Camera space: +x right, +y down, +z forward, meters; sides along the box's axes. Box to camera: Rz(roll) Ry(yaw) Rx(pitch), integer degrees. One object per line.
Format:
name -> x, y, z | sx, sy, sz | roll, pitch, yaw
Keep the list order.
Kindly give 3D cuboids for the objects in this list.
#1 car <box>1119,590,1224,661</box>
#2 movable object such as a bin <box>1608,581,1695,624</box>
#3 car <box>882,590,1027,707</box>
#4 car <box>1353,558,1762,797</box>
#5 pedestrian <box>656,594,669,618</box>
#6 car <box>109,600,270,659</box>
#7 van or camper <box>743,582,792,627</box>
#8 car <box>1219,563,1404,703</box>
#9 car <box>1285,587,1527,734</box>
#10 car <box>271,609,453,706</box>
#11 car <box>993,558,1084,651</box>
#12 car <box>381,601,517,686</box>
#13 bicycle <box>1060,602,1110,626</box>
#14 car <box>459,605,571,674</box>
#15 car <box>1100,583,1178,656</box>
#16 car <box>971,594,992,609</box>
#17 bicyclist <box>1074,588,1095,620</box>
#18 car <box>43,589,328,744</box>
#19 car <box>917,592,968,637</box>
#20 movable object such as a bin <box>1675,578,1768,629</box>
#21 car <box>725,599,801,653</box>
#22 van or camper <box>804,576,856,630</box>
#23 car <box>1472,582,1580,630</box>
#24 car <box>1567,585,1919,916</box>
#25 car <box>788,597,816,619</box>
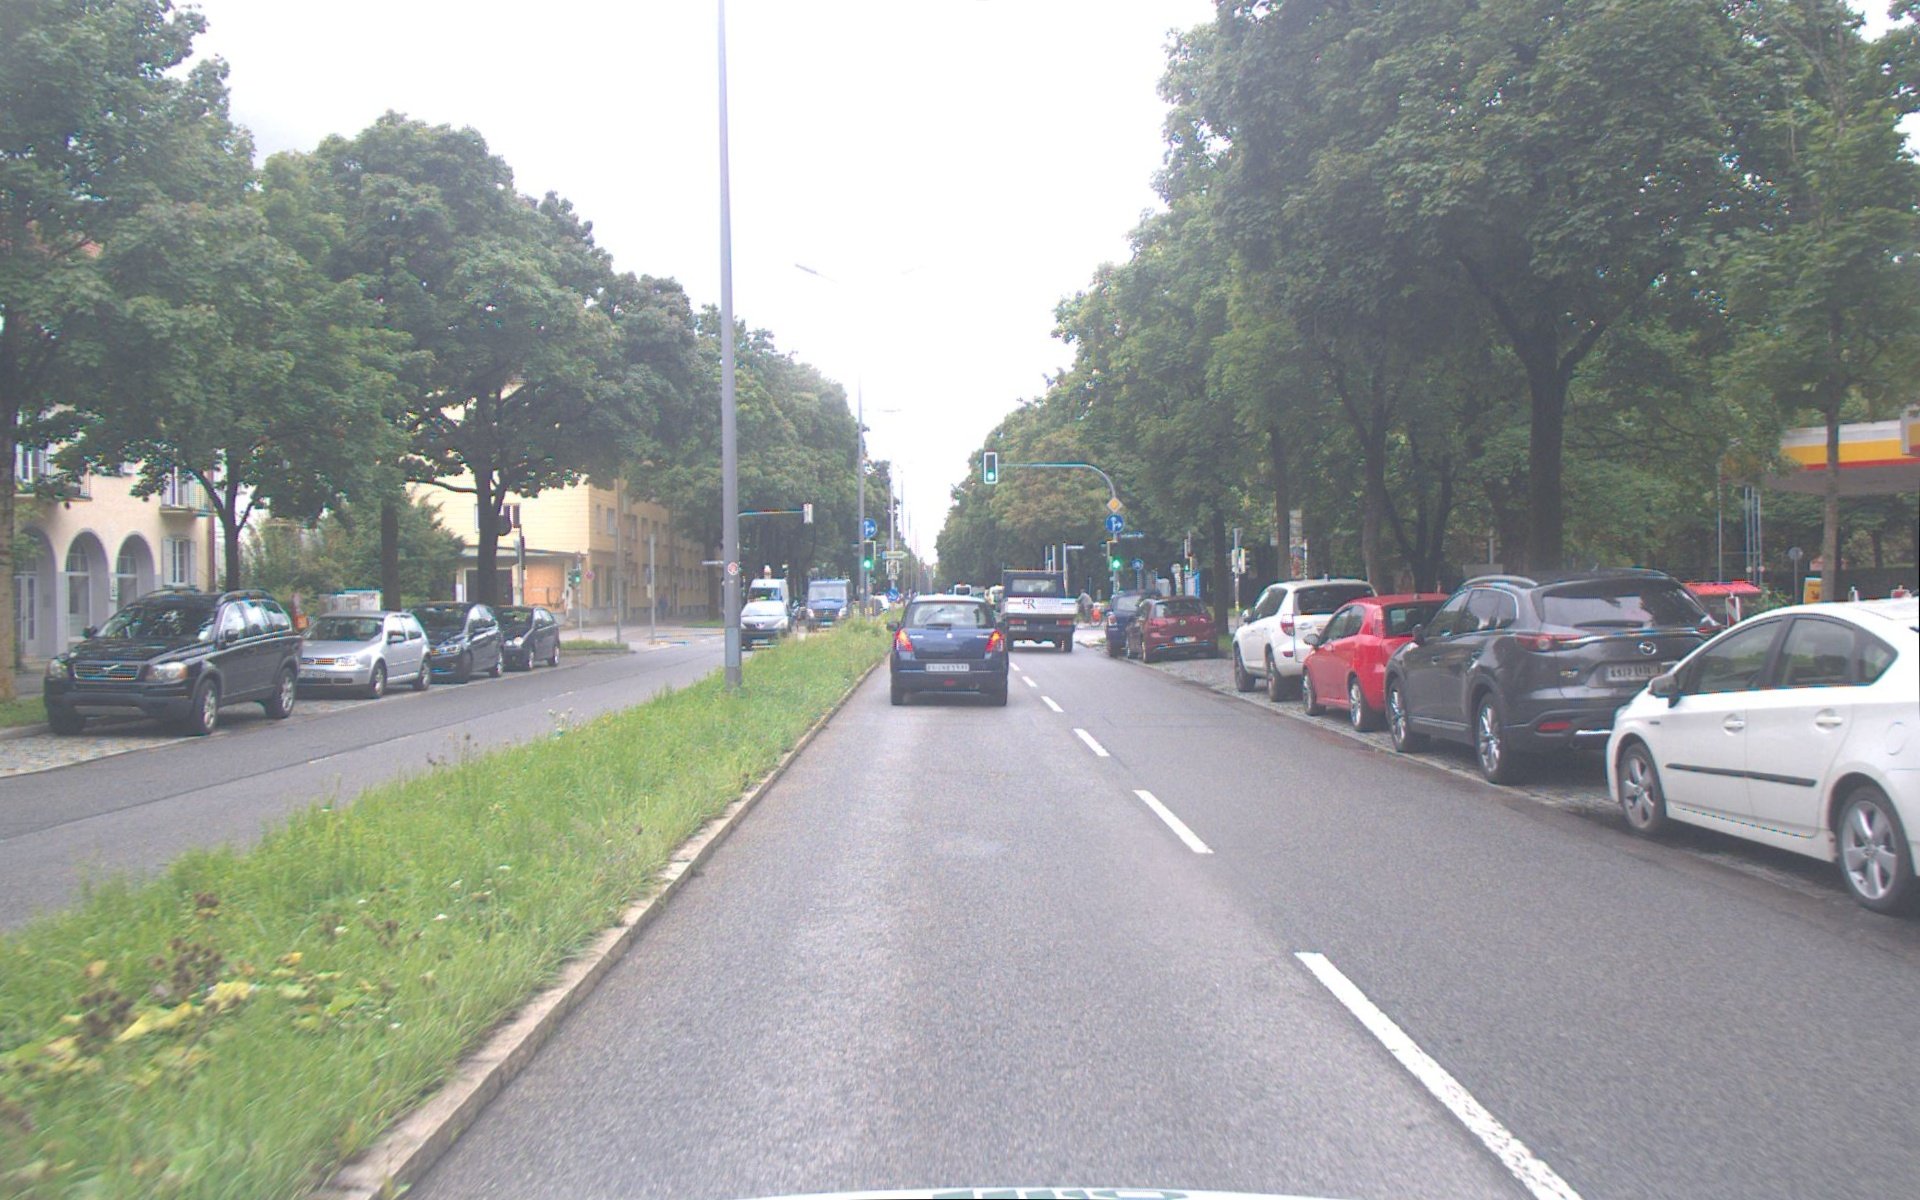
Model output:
car -> 4.950, 0.561, 39.243 | 1.678, 1.449, 4.281 | -5, 0, -2
movable object such as a bin -> 21.319, 0.071, 51.061 | 2.018, 1.285, 1.531 | -1, 0, -1
car -> -0.158, 0.647, 24.092 | 1.859, 1.525, 3.657 | -1, 0, -4
car -> 5.166, 0.578, 15.193 | 1.725, 1.728, 5.229 | -3, 0, -1
pedestrian -> -18.201, 0.377, 101.242 | 0.616, 1.465, 0.806 | 1, 0, -1
car -> -20.822, 0.771, 44.790 | 3.561, 1.487, 1.671 | -1, 0, -3
van or camper -> -11.248, 0.225, 96.997 | 2.096, 2.519, 6.258 | -2, 0, -1
car -> 5.256, 0.444, 25.303 | 1.725, 1.862, 4.527 | -3, 0, -1
car -> 5.306, 0.654, 20.253 | 1.725, 1.533, 4.142 | -3, 0, -1
car -> -10.399, 0.950, 29.084 | 1.632, 1.470, 4.374 | 2, 0, -1
car -> 2.144, 0.112, 46.693 | 2.369, 2.487, 5.087 | 0, 0, 1
car -> -10.448, 0.833, 34.112 | 1.633, 1.589, 4.296 | -1, 0, -3
bicycle -> 5.866, 0.646, 77.643 | 2.250, 1.133, 0.996 | 0, 0, 0
car -> -10.606, 0.908, 39.663 | 1.532, 1.475, 3.838 | 2, 0, 1
car -> 4.710, 0.483, 44.013 | 1.726, 1.686, 4.285 | -5, 0, 3
car -> 2.167, 0.121, 167.429 | 1.751, 1.525, 3.657 | 0, 0, -4
bicyclist -> 5.854, 0.196, 77.643 | 0.911, 1.505, 0.990 | 0, 0, 1
car -> -10.218, 0.784, 22.299 | 1.761, 1.794, 5.053 | 2, 0, -5
car -> -0.623, 0.508, 59.793 | 1.762, 1.525, 3.660 | -1, 0, 0
movable object such as a bin -> 23.502, 0.099, 51.102 | 2.019, 1.512, 1.837 | -1, 0, -1
car -> -5.849, 0.738, 49.511 | 1.702, 1.467, 4.103 | -2, 0, 0
van or camper -> -5.819, 0.112, 74.751 | 1.982, 2.300, 6.020 | -2, 0, -2
car -> 23.498, 0.228, 68.813 | 3.799, 1.638, 1.934 | -5, 0, 6
car -> 5.312, 0.695, 9.633 | 1.725, 1.479, 4.632 | -3, 0, -1
car -> -11.195, 0.574, 117.367 | 1.603, 1.467, 3.734 | -2, 0, -1
